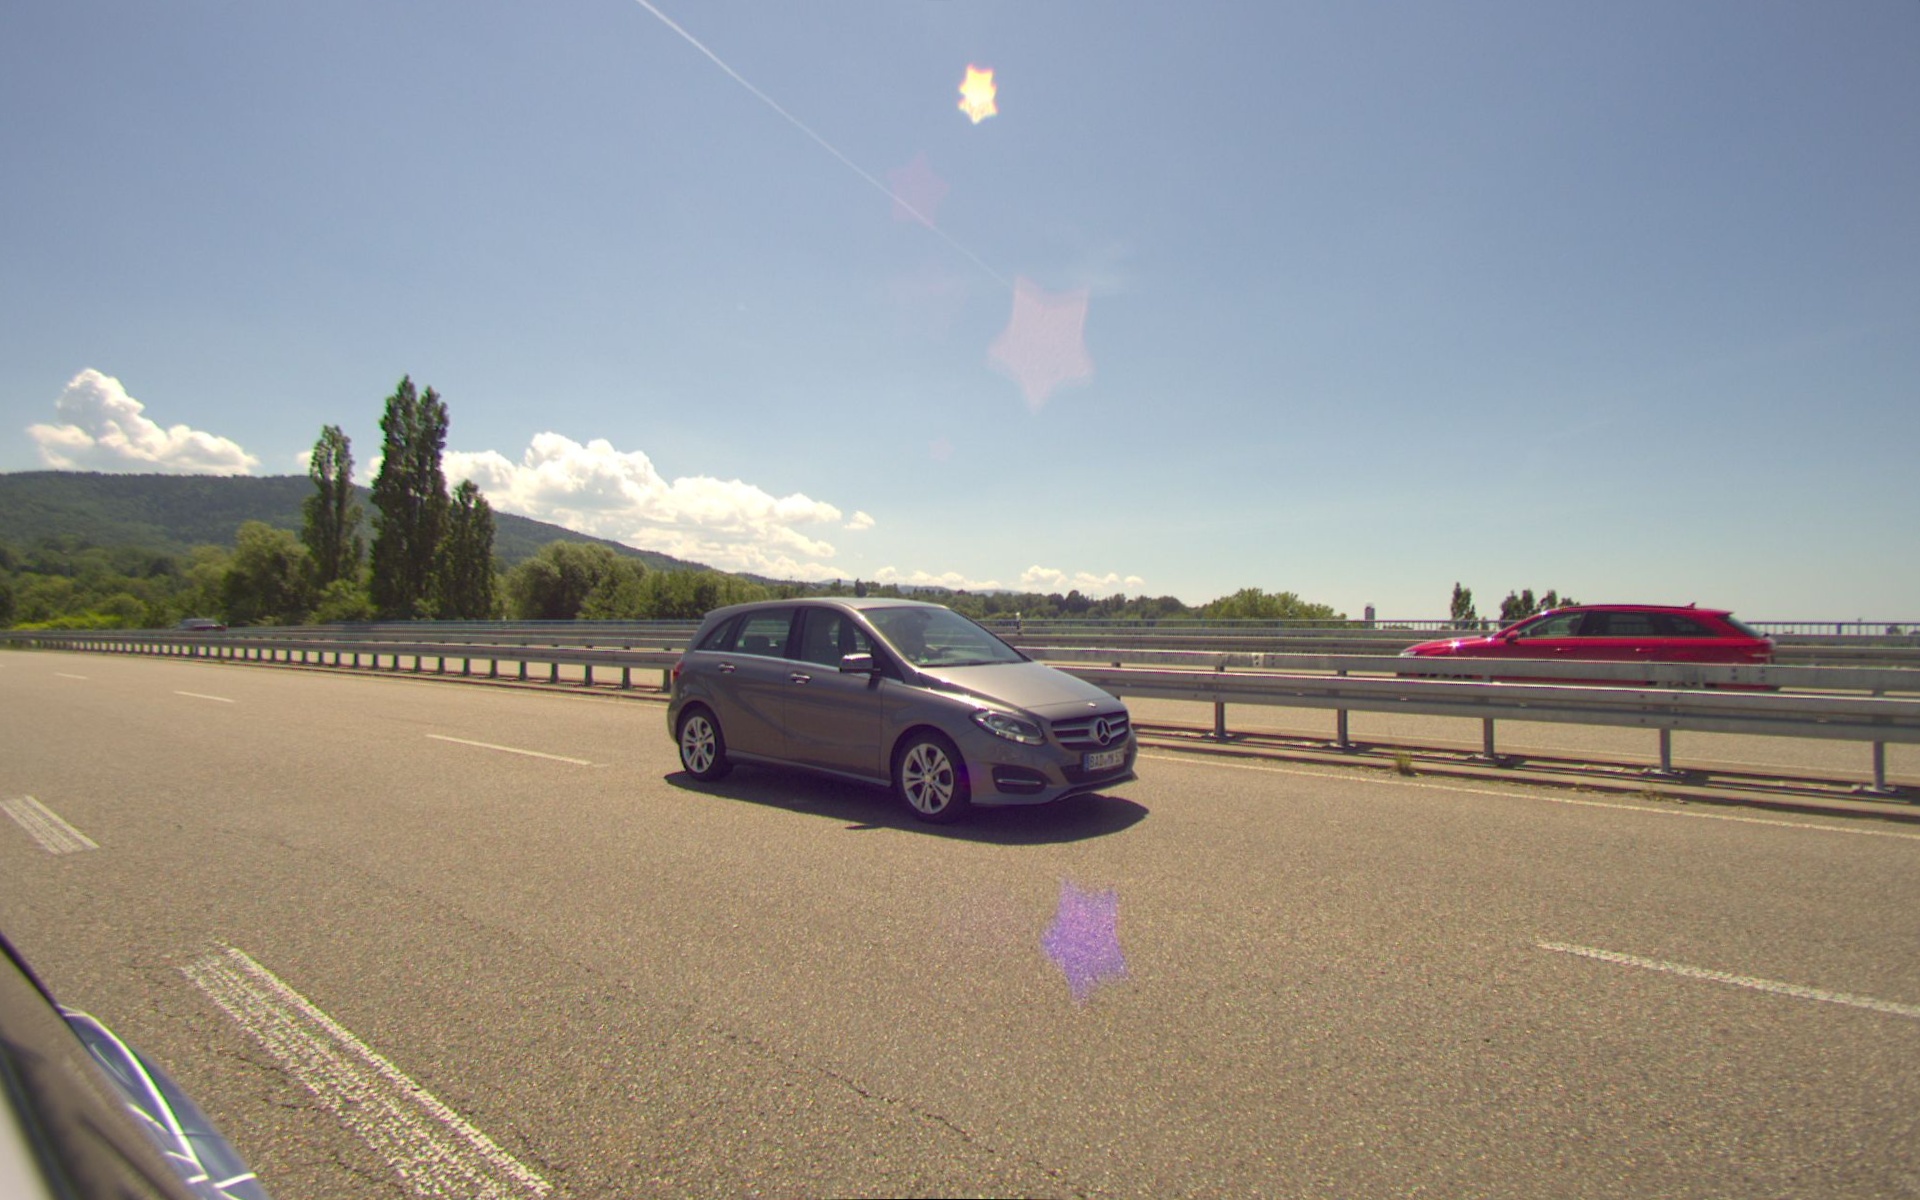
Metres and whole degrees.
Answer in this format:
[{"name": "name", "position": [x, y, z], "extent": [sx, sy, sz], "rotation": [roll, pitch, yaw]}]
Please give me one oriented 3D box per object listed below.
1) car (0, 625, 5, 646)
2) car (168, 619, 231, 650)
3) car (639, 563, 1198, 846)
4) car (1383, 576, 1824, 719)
[{"name": "car", "position": [-88.061, 3.211, 91.311], "extent": [4.785, 1.832, 1.836], "rotation": [0, -1, 36]}, {"name": "car", "position": [-44.566, 1.999, 59.270], "extent": [5.045, 1.680, 1.825], "rotation": [0, -1, 39]}, {"name": "car", "position": [-0.556, 0.644, 8.188], "extent": [4.551, 1.680, 1.774], "rotation": [0, -1, 41]}, {"name": "car", "position": [8.858, 0.585, 14.280], "extent": [5.048, 1.680, 1.824], "rotation": [0, -1, 41]}]
